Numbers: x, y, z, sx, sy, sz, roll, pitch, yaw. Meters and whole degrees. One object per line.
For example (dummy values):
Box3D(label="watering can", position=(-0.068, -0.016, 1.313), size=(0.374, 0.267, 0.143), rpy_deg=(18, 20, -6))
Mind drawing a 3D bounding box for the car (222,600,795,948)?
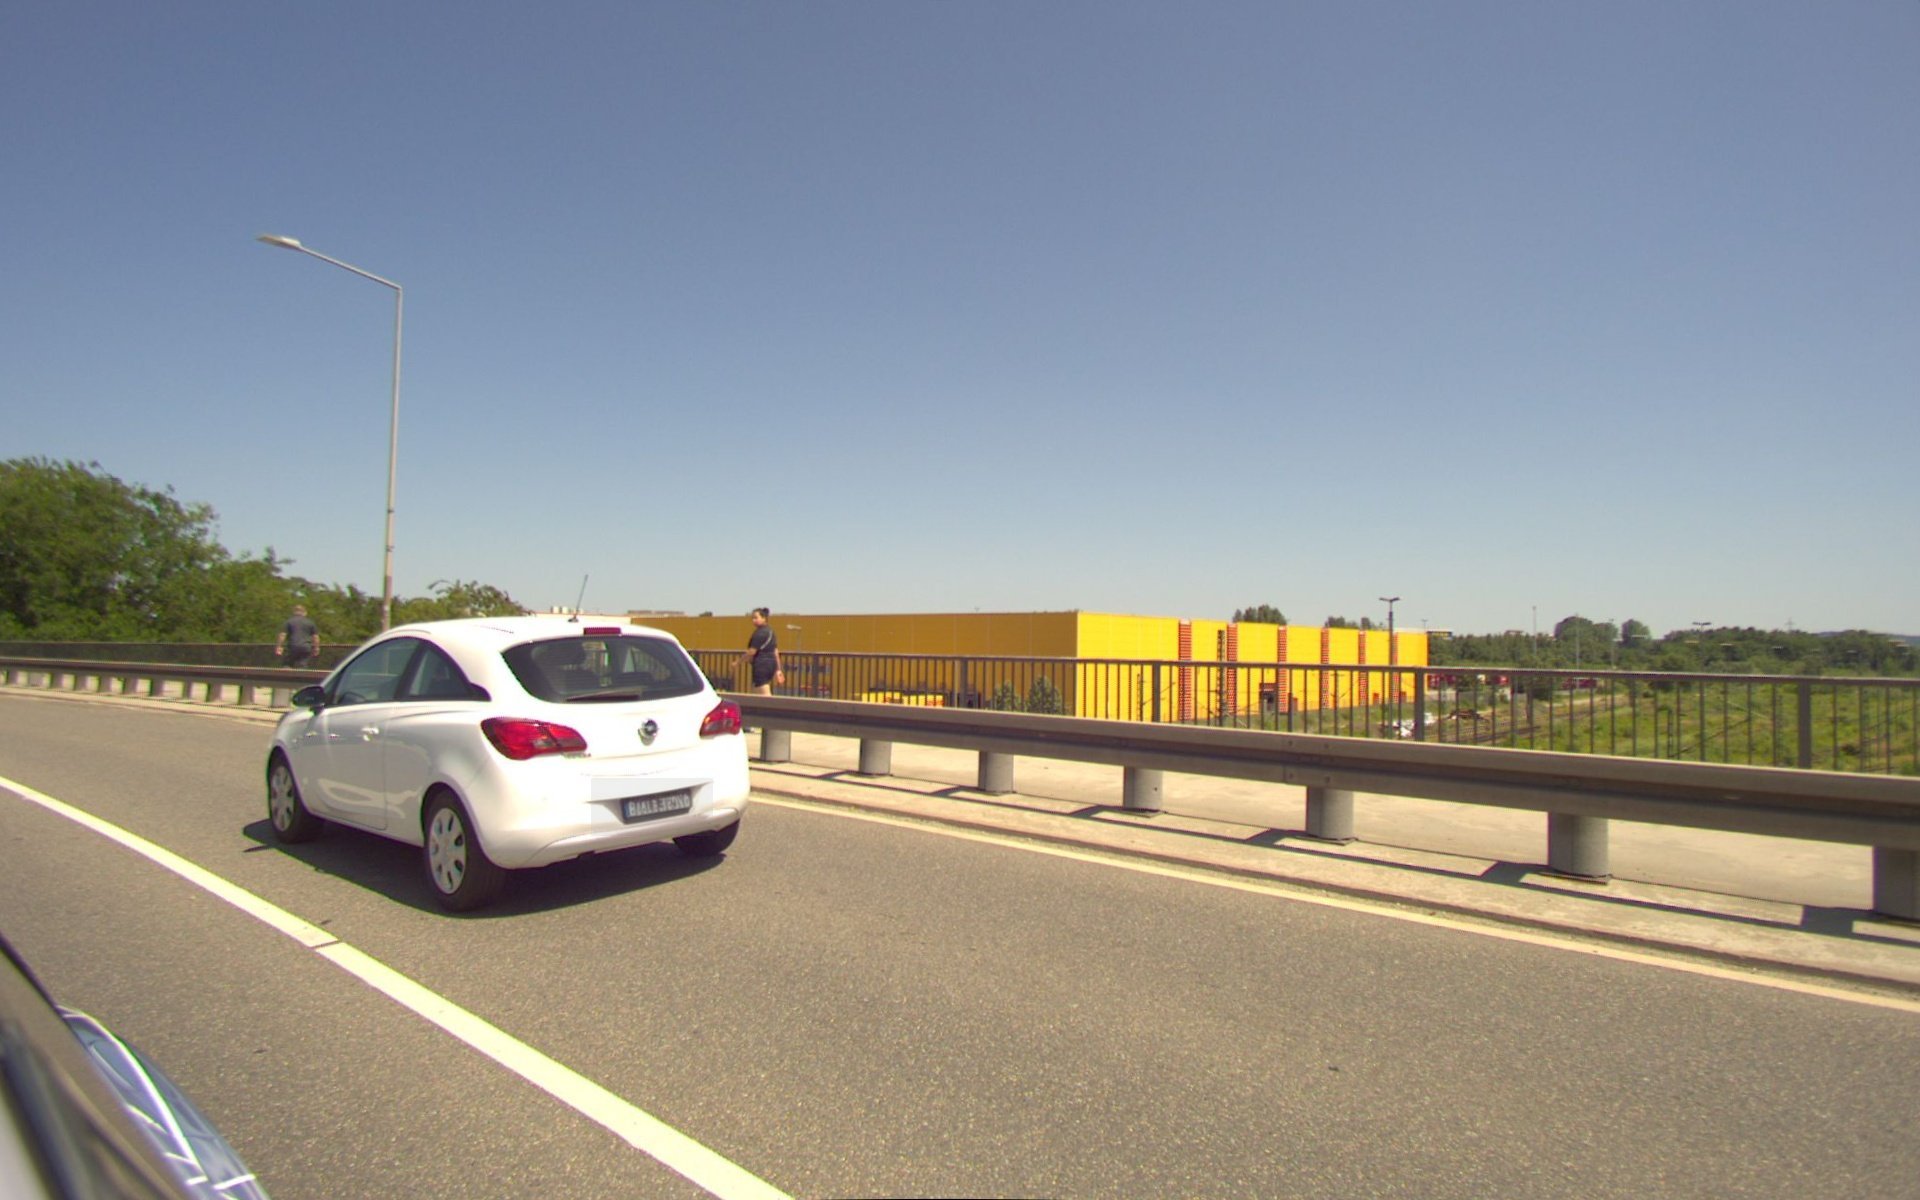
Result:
Box3D(label="car", position=(-2.956, 0.796, 6.274), size=(3.863, 1.495, 1.708), rpy_deg=(-1, -2, 40))

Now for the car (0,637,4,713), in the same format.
Box3D(label="car", position=(-20.591, 1.410, 19.691), size=(4.559, 1.426, 1.776), rpy_deg=(0, -2, 32))

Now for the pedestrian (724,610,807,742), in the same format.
Box3D(label="pedestrian", position=(-2.418, 0.921, 12.579), size=(0.694, 1.573, 0.707), rpy_deg=(-1, -3, 40))

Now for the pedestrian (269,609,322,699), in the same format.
Box3D(label="pedestrian", position=(-13.552, 1.076, 20.640), size=(0.809, 1.796, 0.633), rpy_deg=(-1, 0, 31))
